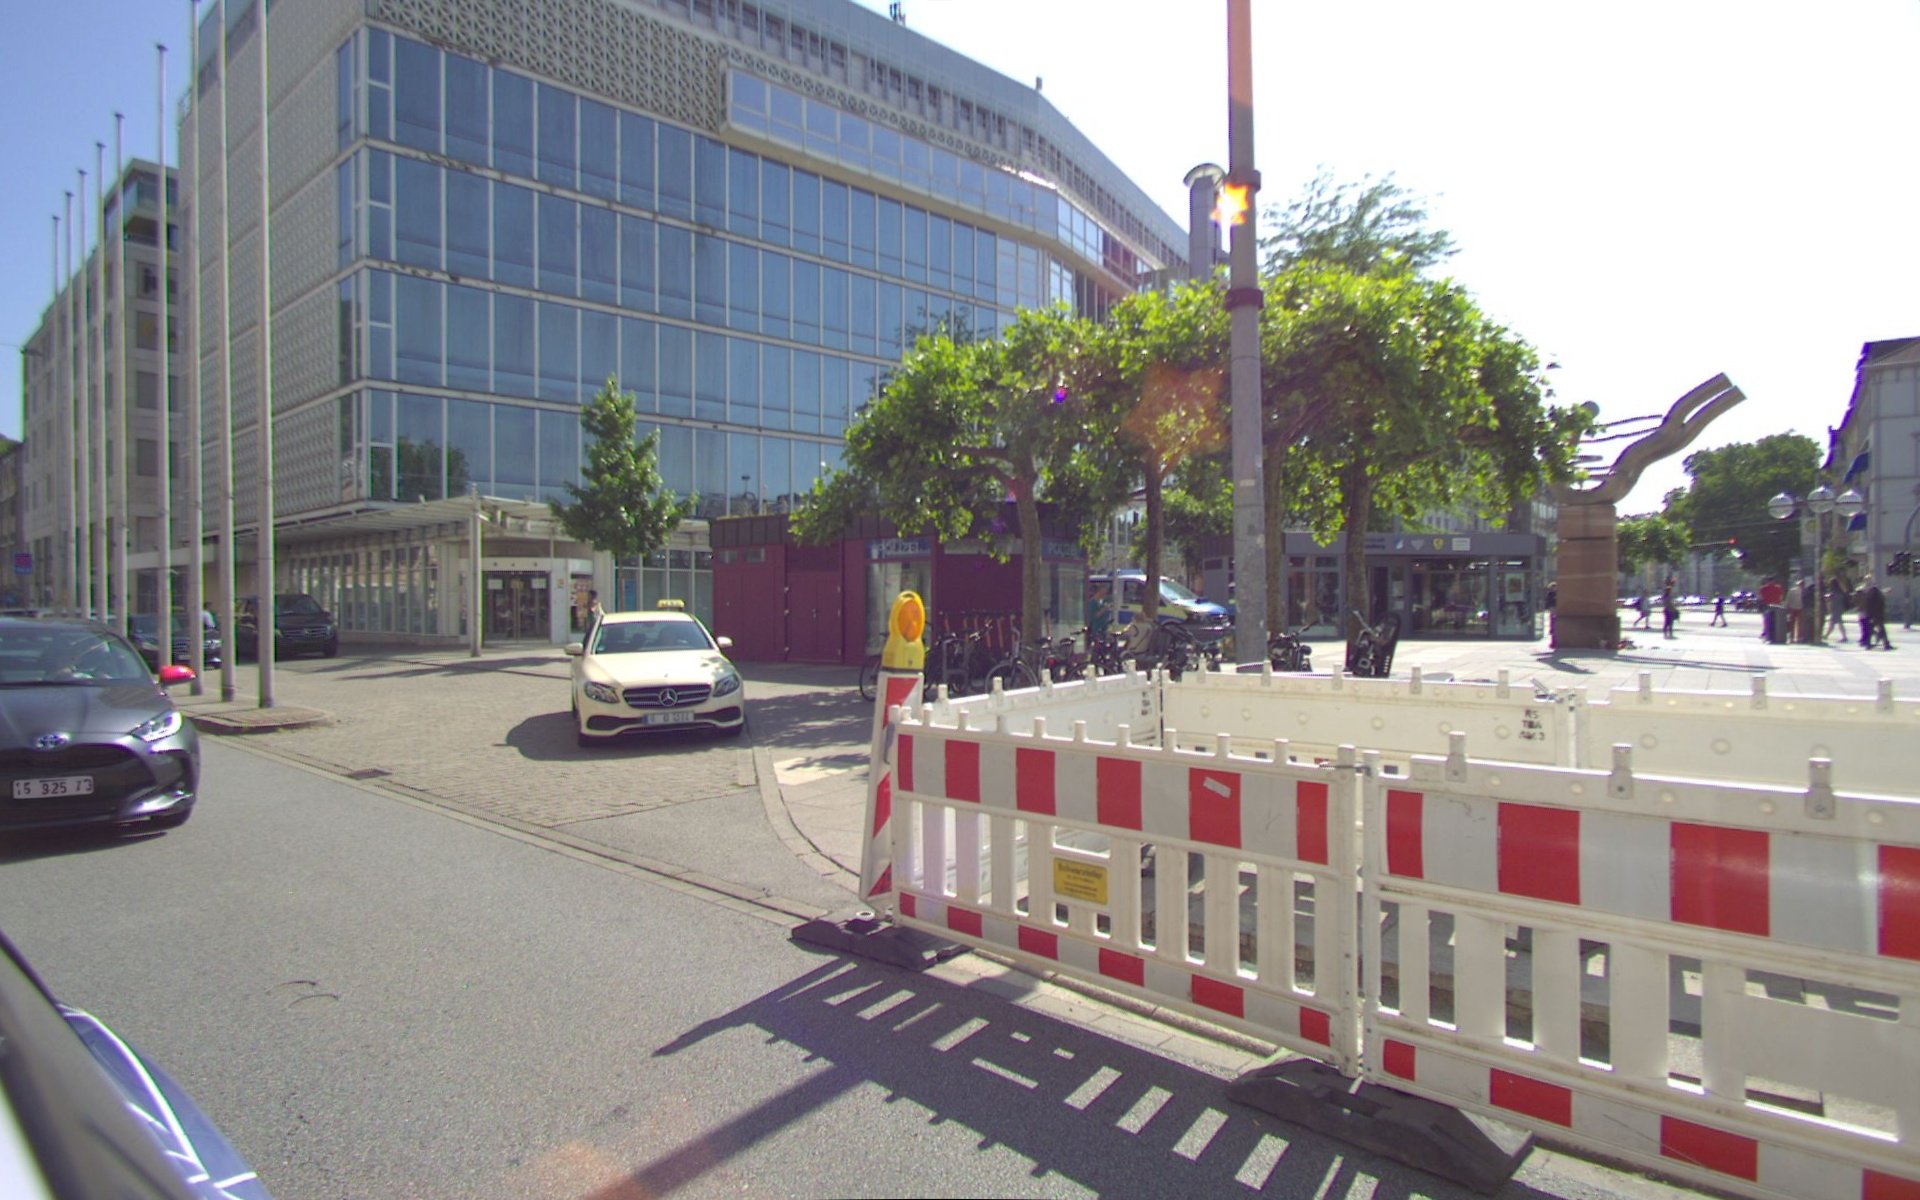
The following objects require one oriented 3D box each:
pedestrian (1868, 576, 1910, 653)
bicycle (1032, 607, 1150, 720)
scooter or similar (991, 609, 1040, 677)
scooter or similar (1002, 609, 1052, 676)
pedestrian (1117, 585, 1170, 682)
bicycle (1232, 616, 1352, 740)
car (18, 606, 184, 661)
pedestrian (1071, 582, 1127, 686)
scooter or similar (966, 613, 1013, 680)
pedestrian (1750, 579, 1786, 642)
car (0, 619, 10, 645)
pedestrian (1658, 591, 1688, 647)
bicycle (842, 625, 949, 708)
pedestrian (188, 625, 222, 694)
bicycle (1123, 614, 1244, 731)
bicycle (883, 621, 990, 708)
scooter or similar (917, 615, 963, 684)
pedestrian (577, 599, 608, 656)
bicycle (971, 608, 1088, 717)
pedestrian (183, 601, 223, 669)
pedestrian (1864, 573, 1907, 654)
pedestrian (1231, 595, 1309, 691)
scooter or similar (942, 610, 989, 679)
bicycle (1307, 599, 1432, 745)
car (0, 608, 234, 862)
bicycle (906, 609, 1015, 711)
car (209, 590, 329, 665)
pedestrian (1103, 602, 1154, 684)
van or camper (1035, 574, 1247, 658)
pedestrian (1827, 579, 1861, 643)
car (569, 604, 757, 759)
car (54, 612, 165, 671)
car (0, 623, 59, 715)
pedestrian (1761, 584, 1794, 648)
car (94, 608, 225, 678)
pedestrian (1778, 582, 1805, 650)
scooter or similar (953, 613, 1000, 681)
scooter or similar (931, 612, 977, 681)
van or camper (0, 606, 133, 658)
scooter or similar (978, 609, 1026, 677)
[{"bbox_3d":[21.783,0.337,23.744,0.605,1.762,0.794,-1,1,36],"label":"pedestrian"},{"bbox_3d":[1.691,0.758,12.822,0.662,1.319,1.765,-1,0,38],"label":"bicycle"},{"bbox_3d":[1.030,0.792,19.118,0.230,1.223,1.307,-1,0,-29],"label":"scooter or similar"},{"bbox_3d":[1.259,0.789,19.227,0.260,1.223,1.307,-1,0,-29],"label":"scooter or similar"},{"bbox_3d":[3.167,0.567,17.423,0.670,1.618,0.798,-1,0,28],"label":"pedestrian"},{"bbox_3d":[3.625,0.796,10.955,0.662,1.194,1.765,-1,0,38],"label":"bicycle"},{"bbox_3d":[-32.493,1.244,38.404,4.372,1.924,2.014,-1,-1,-12],"label":"car"},{"bbox_3d":[2.334,0.557,17.004,0.685,1.690,0.666,-1,0,33],"label":"pedestrian"},{"bbox_3d":[0.540,0.850,18.992,0.230,1.223,1.307,-1,0,-29],"label":"scooter or similar"},{"bbox_3d":[22.917,0.295,28.703,0.603,1.762,0.797,-1,1,25],"label":"pedestrian"},{"bbox_3d":[-64.156,2.184,65.101,3.965,1.614,1.965,-3,2,-26],"label":"car"},{"bbox_3d":[21.497,0.564,30.538,0.602,1.651,0.570,-1,1,22],"label":"pedestrian"},{"bbox_3d":[-0.933,0.958,15.101,0.562,1.113,1.765,-1,0,38],"label":"bicycle"},{"bbox_3d":[-19.925,1.561,26.724,0.524,1.806,0.540,-1,-1,-10],"label":"pedestrian"},{"bbox_3d":[2.630,0.796,11.785,0.662,1.224,1.765,-1,0,38],"label":"bicycle"},{"bbox_3d":[-0.318,0.905,14.762,0.562,1.141,1.765,-1,0,38],"label":"bicycle"},{"bbox_3d":[-0.375,0.886,18.667,0.230,1.223,1.307,-1,0,-29],"label":"scooter or similar"},{"bbox_3d":[-11.263,0.845,30.972,0.674,1.728,0.723,1,-2,-40],"label":"pedestrian"},{"bbox_3d":[0.948,0.781,13.387,0.662,1.319,1.765,-1,0,38],"label":"bicycle"},{"bbox_3d":[-20.498,0.933,27.401,0.610,1.806,0.694,-1,-1,-10],"label":"pedestrian"},{"bbox_3d":[20.523,0.294,22.458,0.605,1.762,0.794,-1,1,36],"label":"pedestrian"},{"bbox_3d":[4.695,0.631,15.336,0.662,1.392,0.898,-1,0,-40],"label":"pedestrian"},{"bbox_3d":[0.089,0.807,18.812,0.230,1.223,1.307,-1,0,-29],"label":"scooter or similar"},{"bbox_3d":[4.362,0.698,10.703,0.740,1.358,1.765,-1,1,38],"label":"bicycle"},{"bbox_3d":[-7.014,0.878,7.507,4.106,1.489,1.843,-3,-4,43],"label":"car"},{"bbox_3d":[0.036,0.805,14.302,0.562,1.319,1.765,-1,0,38],"label":"bicycle"},{"bbox_3d":[-20.300,0.775,29.640,4.683,2.029,1.813,-2,-1,41],"label":"car"},{"bbox_3d":[2.802,0.700,16.825,0.683,1.319,0.668,-1,0,24],"label":"pedestrian"},{"bbox_3d":[4.489,0.376,25.600,5.020,1.933,1.854,0,0,40],"label":"van or camper"},{"bbox_3d":[23.797,0.286,27.256,0.605,1.679,0.794,-1,1,36],"label":"pedestrian"},{"bbox_3d":[-4.003,0.879,13.007,1.864,1.553,4.877,-1,0,-21],"label":"car"},{"bbox_3d":[-24.917,1.184,29.580,4.736,1.534,1.780,-2,0,41],"label":"car"},{"bbox_3d":[-16.405,1.097,16.873,4.107,1.407,1.710,-1,-1,43],"label":"car"},{"bbox_3d":[21.248,0.405,26.304,0.605,1.633,0.794,-1,1,36],"label":"pedestrian"},{"bbox_3d":[-20.496,1.058,25.835,4.706,1.612,1.743,-1,-1,40],"label":"car"},{"bbox_3d":[21.973,0.422,26.760,0.502,1.762,0.539,-1,1,36],"label":"pedestrian"},{"bbox_3d":[0.296,0.860,18.932,0.230,1.223,1.307,-1,0,-29],"label":"scooter or similar"},{"bbox_3d":[-0.129,0.833,18.726,0.230,1.223,1.307,-1,0,-29],"label":"scooter or similar"},{"bbox_3d":[-38.830,1.375,43.535,4.585,2.029,2.004,-2,0,-10],"label":"van or camper"},{"bbox_3d":[0.780,0.790,19.079,0.230,1.223,1.307,-1,0,-29],"label":"scooter or similar"}]
